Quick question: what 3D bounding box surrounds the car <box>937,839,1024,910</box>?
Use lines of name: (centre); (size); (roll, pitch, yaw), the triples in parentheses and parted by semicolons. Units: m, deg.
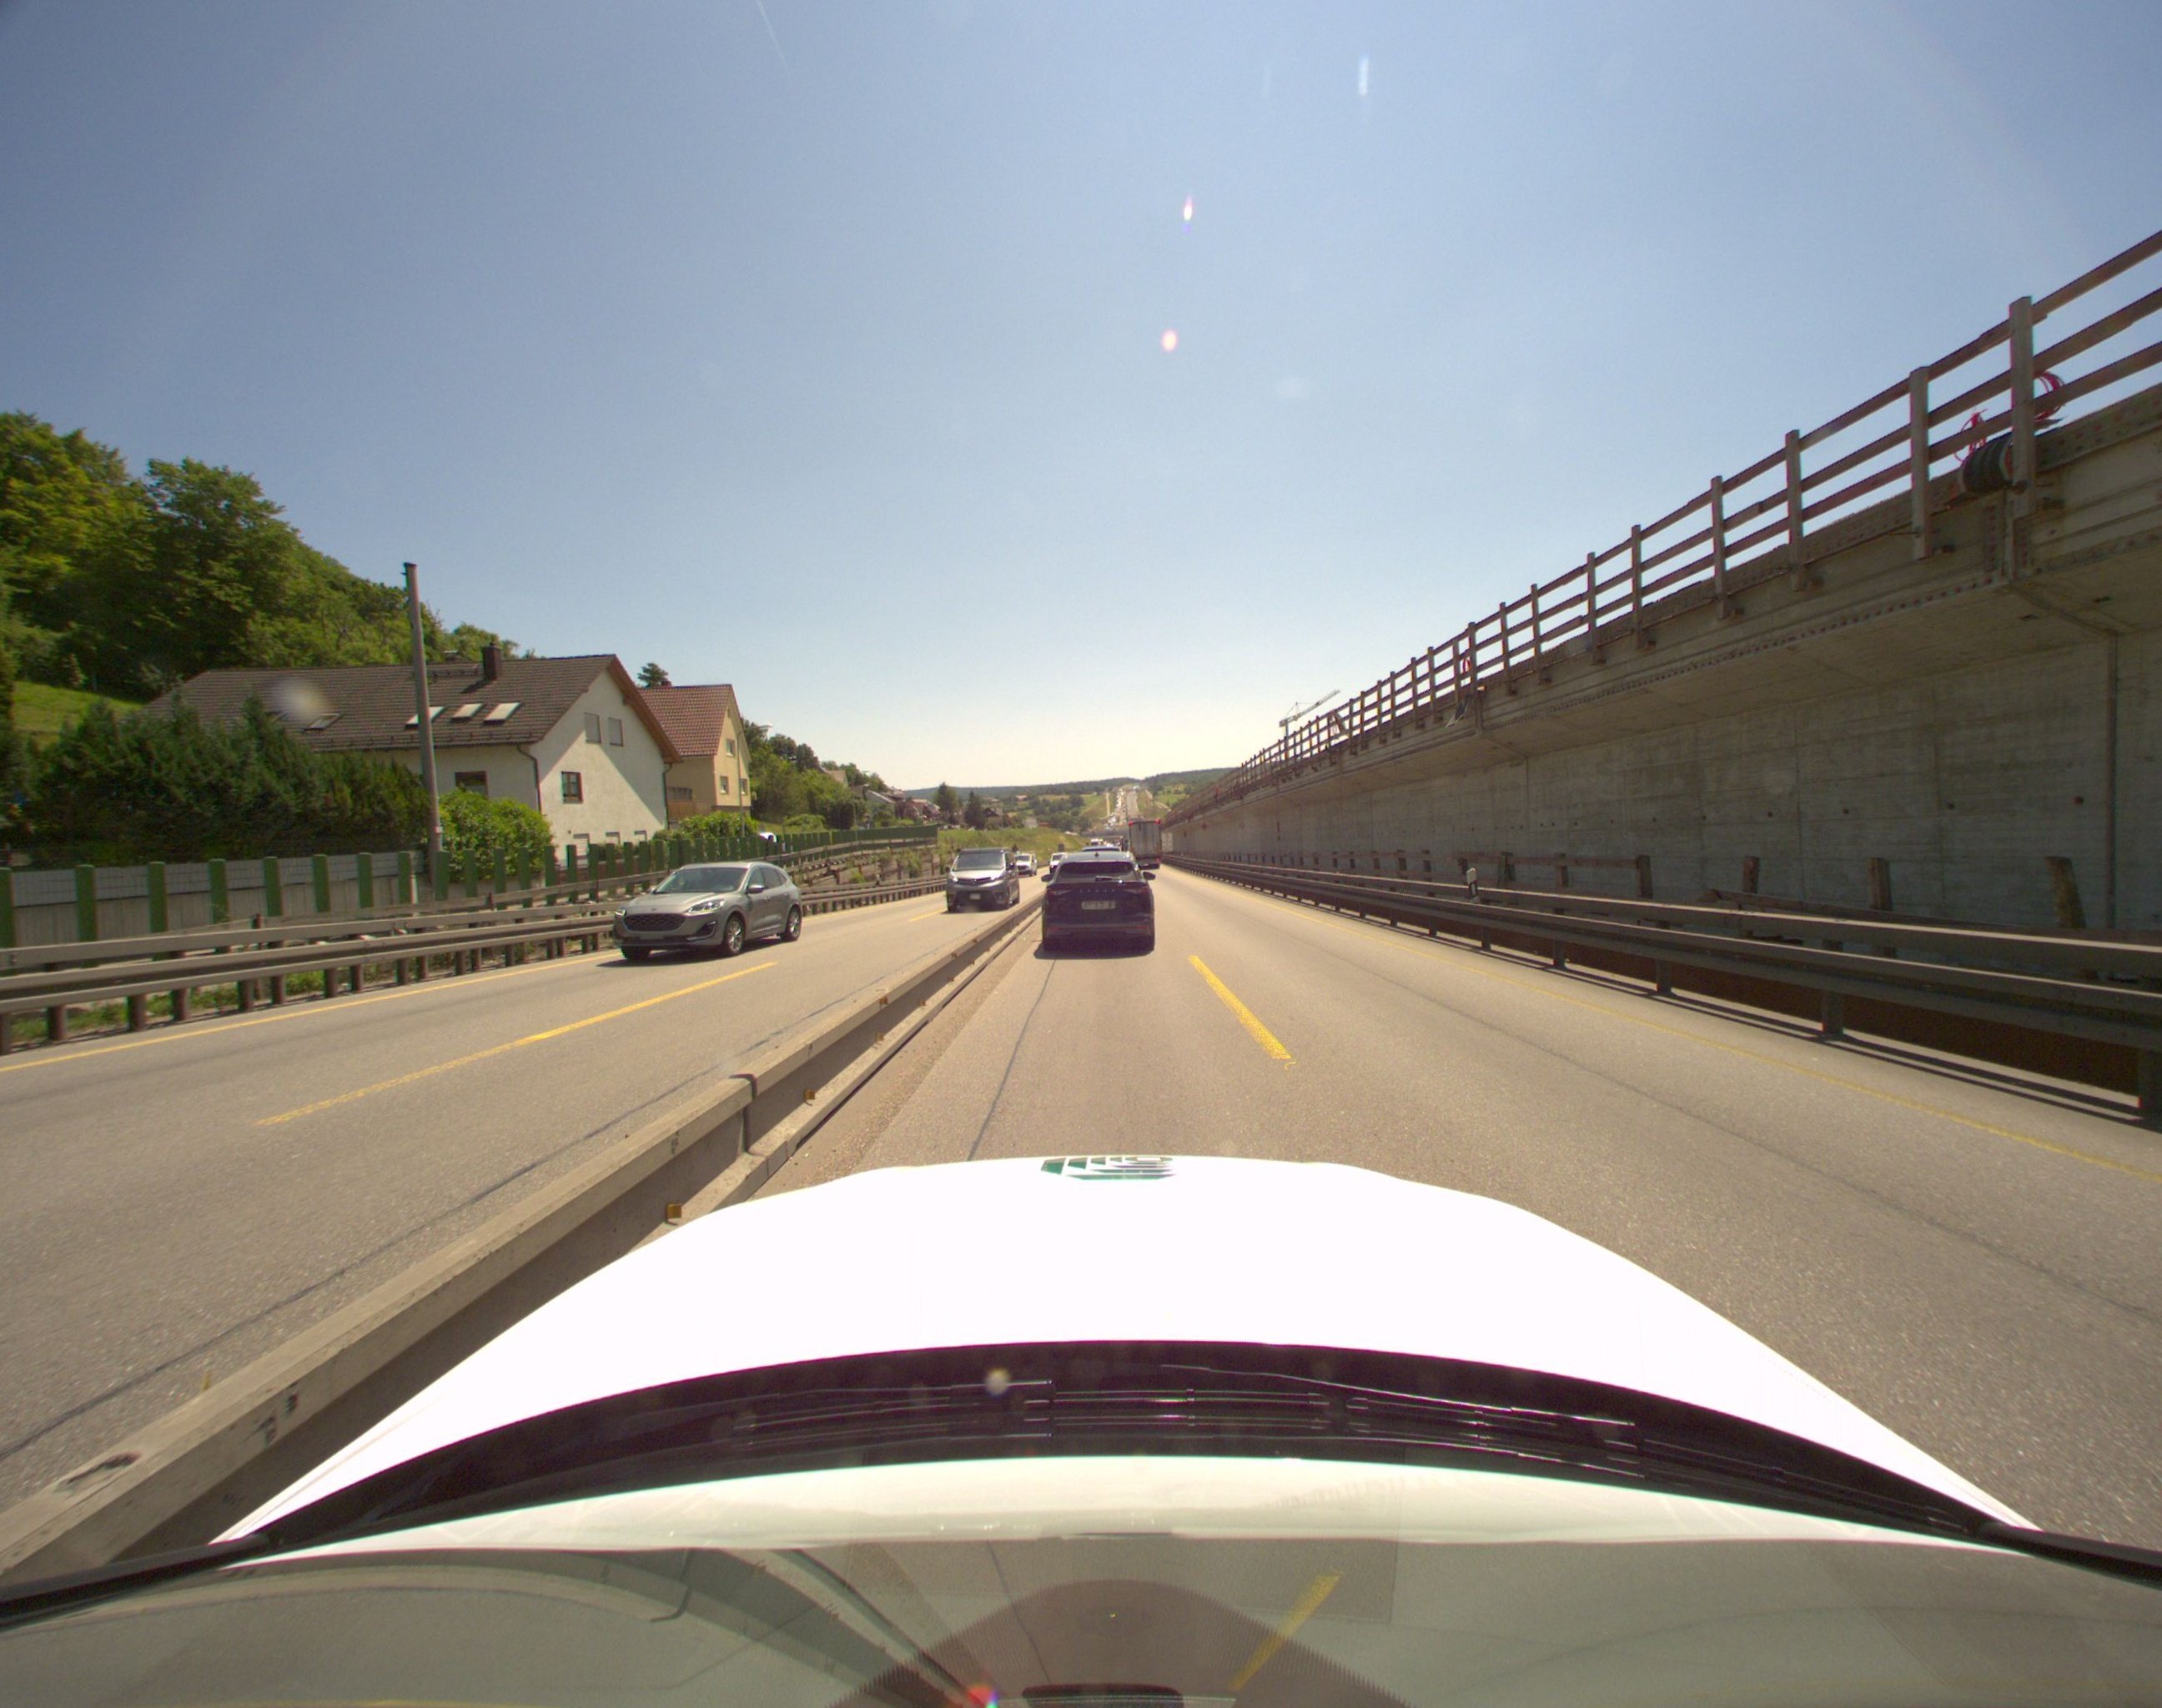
car: (-3.154, 0.631, 26.679); (1.986, 2.014, 4.971); (-3, -1, 2)

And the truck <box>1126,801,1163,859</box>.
truck: (5.520, -1.966, 72.752); (2.834, 4.615, 11.820); (-3, -1, 3)

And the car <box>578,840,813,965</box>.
car: (-6.687, 0.767, 14.813); (1.986, 1.827, 4.509); (-3, -1, 1)

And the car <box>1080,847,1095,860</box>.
car: (0.893, -0.077, 110.533); (1.768, 1.633, 4.102); (-2, 0, 2)

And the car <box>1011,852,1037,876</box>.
car: (-4.870, 0.839, 70.048); (1.820, 1.926, 5.241); (-2, 0, -1)

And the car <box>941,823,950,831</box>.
car: (-33.660, -6.824, 202.487); (1.924, 1.728, 3.989); (-3, 0, -8)

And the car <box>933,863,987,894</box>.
car: (-6.109, 1.208, 41.567); (1.986, 1.442, 4.365); (0, 0, 1)

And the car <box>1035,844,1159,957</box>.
car: (0.293, 0.695, 14.168); (1.776, 1.597, 3.756); (-3, 0, 1)

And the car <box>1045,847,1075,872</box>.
car: (-1.722, 0.464, 68.730); (2.149, 1.906, 5.328); (-2, -1, 2)

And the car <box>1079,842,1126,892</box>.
car: (0.825, 0.503, 33.009); (1.744, 1.895, 3.755); (-1, 0, 0)
